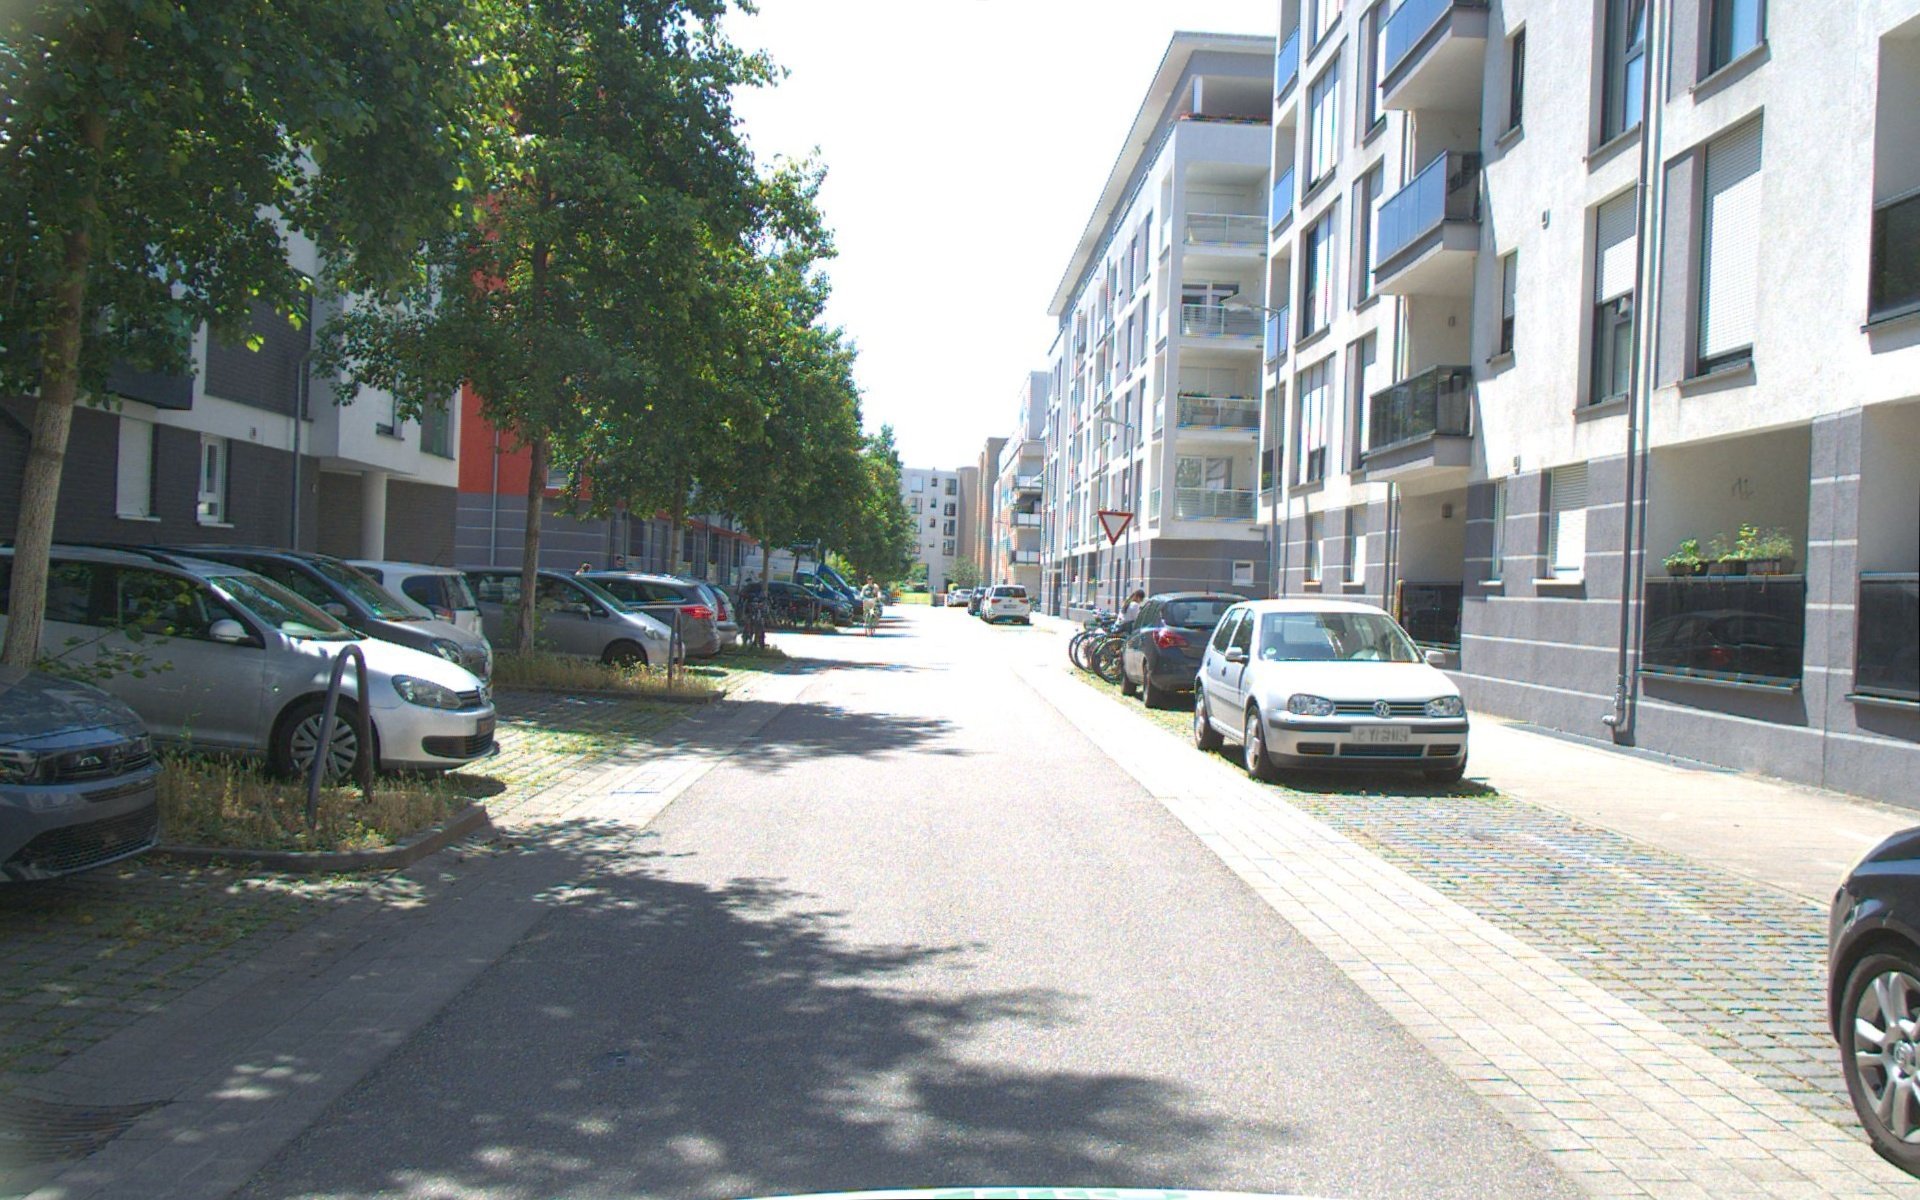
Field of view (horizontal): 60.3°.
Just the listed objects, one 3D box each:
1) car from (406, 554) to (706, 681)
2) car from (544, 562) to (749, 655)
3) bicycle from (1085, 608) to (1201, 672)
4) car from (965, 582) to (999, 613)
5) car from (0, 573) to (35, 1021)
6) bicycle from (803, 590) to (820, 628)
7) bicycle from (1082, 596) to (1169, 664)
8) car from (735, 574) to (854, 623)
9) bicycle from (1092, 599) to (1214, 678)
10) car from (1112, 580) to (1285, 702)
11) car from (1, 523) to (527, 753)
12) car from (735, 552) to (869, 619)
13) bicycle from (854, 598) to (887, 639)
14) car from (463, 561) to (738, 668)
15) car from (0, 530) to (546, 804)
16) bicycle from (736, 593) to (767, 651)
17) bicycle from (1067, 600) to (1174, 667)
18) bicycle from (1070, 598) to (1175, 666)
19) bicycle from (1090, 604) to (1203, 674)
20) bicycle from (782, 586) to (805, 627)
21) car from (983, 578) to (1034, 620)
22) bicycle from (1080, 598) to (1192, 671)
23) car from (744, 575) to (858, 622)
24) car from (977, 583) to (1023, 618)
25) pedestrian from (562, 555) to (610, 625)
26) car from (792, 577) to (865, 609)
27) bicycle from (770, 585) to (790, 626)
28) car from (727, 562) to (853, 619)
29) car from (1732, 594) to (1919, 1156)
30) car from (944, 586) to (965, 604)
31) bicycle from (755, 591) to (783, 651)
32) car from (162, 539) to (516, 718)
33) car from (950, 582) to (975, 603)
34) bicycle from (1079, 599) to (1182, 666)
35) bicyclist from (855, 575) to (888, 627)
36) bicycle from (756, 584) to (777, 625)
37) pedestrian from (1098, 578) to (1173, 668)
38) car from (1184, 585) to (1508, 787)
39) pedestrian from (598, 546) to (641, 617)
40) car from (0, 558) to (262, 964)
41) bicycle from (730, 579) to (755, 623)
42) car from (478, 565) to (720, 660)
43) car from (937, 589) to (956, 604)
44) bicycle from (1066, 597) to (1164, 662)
[{"bbox_3d":[-5.811,0.237,24.157,3.859,1.580,1.872,3,0,-2],"label":"car"},{"bbox_3d":[-5.996,0.153,31.967,3.557,1.547,1.831,3,0,-2],"label":"car"},{"bbox_3d":[3.116,0.681,28.176,1.886,1.053,0.559,1,0,-5],"label":"bicycle"},{"bbox_3d":[1.222,-0.167,90.597,1.721,1.579,4.001,2,0,2],"label":"car"},{"bbox_3d":[-4.991,0.548,4.452,3.897,1.470,1.773,3,0,-5],"label":"car"},{"bbox_3d":[-4.764,0.283,53.226,0.456,1.161,1.925,1,0,-3],"label":"bicycle"},{"bbox_3d":[3.099,0.559,31.074,1.520,1.239,0.707,1,0,-3],"label":"bicycle"},{"bbox_3d":[-6.271,-0.064,63.088,4.295,1.541,2.075,4,0,-2],"label":"car"},{"bbox_3d":[3.111,0.614,26.734,1.833,1.239,0.715,1,0,-5],"label":"bicycle"},{"bbox_3d":[3.220,0.496,23.090,1.703,1.511,4.228,1,1,-1],"label":"car"},{"bbox_3d":[-5.709,0.304,13.993,3.637,1.613,1.818,3,0,-7],"label":"car"},{"bbox_3d":[-7.173,-0.666,75.680,5.902,2.865,2.604,1,0,-2],"label":"car"},{"bbox_3d":[-2.610,0.531,48.493,0.880,1.149,2.039,1,0,-2],"label":"bicycle"},{"bbox_3d":[-5.786,0.242,27.054,4.099,1.512,1.957,3,-1,-5],"label":"car"},{"bbox_3d":[-5.262,0.412,11.590,4.274,1.740,1.999,0,1,-4],"label":"car"},{"bbox_3d":[-4.351,0.442,34.504,0.426,1.147,1.972,1,0,-13],"label":"bicycle"},{"bbox_3d":[2.903,0.596,29.781,1.882,1.153,0.609,1,0,8],"label":"bicycle"},{"bbox_3d":[2.986,0.577,30.389,1.882,1.200,0.639,1,0,8],"label":"bicycle"},{"bbox_3d":[3.083,0.640,27.480,1.751,1.123,0.746,1,0,-5],"label":"bicycle"},{"bbox_3d":[-5.337,0.214,52.992,0.559,1.194,1.765,4,1,-8],"label":"bicycle"},{"bbox_3d":[2.034,-0.066,70.506,1.957,1.686,4.114,1,1,-1],"label":"car"},{"bbox_3d":[3.068,0.598,28.836,1.888,1.239,0.459,1,0,-11],"label":"bicycle"},{"bbox_3d":[-6.260,-0.057,65.640,4.295,1.568,1.878,3,0,-2],"label":"car"},{"bbox_3d":[1.824,-0.007,76.203,1.953,1.551,3.999,1,1,-1],"label":"car"},{"bbox_3d":[-9.379,-0.258,41.499,0.980,1.720,0.832,1,0,-1],"label":"pedestrian"},{"bbox_3d":[-7.357,-0.400,92.882,3.905,1.646,2.000,2,0,0],"label":"car"},{"bbox_3d":[-5.761,0.169,52.986,0.425,1.224,1.700,3,1,-1],"label":"bicycle"},{"bbox_3d":[-7.179,-0.407,70.249,5.041,2.156,2.311,3,1,-2],"label":"car"},{"bbox_3d":[3.393,0.749,3.386,1.609,1.488,4.116,0,1,-2],"label":"car"},{"bbox_3d":[-0.588,-0.498,166.340,1.954,1.747,3.998,2,0,-3],"label":"car"},{"bbox_3d":[-3.998,0.422,34.542,0.364,1.201,1.815,1,0,-13],"label":"bicycle"},{"bbox_3d":[-6.271,0.272,16.981,2.874,1.526,1.847,4,0,-3],"label":"car"},{"bbox_3d":[0.195,-0.646,139.128,1.954,1.704,3.998,2,0,-3],"label":"car"},{"bbox_3d":[3.043,0.575,29.419,1.807,1.168,0.458,1,0,-21],"label":"bicycle"},{"bbox_3d":[-2.598,0.036,48.584,0.934,1.485,0.799,1,0,-2],"label":"bicyclist"},{"bbox_3d":[-6.221,0.142,53.227,0.508,1.224,1.751,3,1,-3],"label":"bicycle"},{"bbox_3d":[3.070,0.401,28.962,1.157,1.541,0.686,1,0,-11],"label":"pedestrian"},{"bbox_3d":[3.237,0.638,14.772,1.797,1.531,4.349,0,1,-1],"label":"car"},{"bbox_3d":[-10.113,-0.543,49.172,0.988,2.049,1.129,1,0,1],"label":"pedestrian"},{"bbox_3d":[-5.370,0.491,7.049,3.906,1.447,1.897,4,1,-1],"label":"car"},{"bbox_3d":[-6.964,0.013,52.998,0.581,1.354,1.812,1,1,-1],"label":"bicycle"},{"bbox_3d":[-6.419,0.214,29.681,3.905,1.582,1.800,1,0,0],"label":"car"},{"bbox_3d":[-1.504,-0.389,180.381,1.954,1.545,3.998,2,0,-3],"label":"car"},{"bbox_3d":[2.975,0.560,31.780,1.821,1.214,0.687,1,0,1],"label":"bicycle"}]
